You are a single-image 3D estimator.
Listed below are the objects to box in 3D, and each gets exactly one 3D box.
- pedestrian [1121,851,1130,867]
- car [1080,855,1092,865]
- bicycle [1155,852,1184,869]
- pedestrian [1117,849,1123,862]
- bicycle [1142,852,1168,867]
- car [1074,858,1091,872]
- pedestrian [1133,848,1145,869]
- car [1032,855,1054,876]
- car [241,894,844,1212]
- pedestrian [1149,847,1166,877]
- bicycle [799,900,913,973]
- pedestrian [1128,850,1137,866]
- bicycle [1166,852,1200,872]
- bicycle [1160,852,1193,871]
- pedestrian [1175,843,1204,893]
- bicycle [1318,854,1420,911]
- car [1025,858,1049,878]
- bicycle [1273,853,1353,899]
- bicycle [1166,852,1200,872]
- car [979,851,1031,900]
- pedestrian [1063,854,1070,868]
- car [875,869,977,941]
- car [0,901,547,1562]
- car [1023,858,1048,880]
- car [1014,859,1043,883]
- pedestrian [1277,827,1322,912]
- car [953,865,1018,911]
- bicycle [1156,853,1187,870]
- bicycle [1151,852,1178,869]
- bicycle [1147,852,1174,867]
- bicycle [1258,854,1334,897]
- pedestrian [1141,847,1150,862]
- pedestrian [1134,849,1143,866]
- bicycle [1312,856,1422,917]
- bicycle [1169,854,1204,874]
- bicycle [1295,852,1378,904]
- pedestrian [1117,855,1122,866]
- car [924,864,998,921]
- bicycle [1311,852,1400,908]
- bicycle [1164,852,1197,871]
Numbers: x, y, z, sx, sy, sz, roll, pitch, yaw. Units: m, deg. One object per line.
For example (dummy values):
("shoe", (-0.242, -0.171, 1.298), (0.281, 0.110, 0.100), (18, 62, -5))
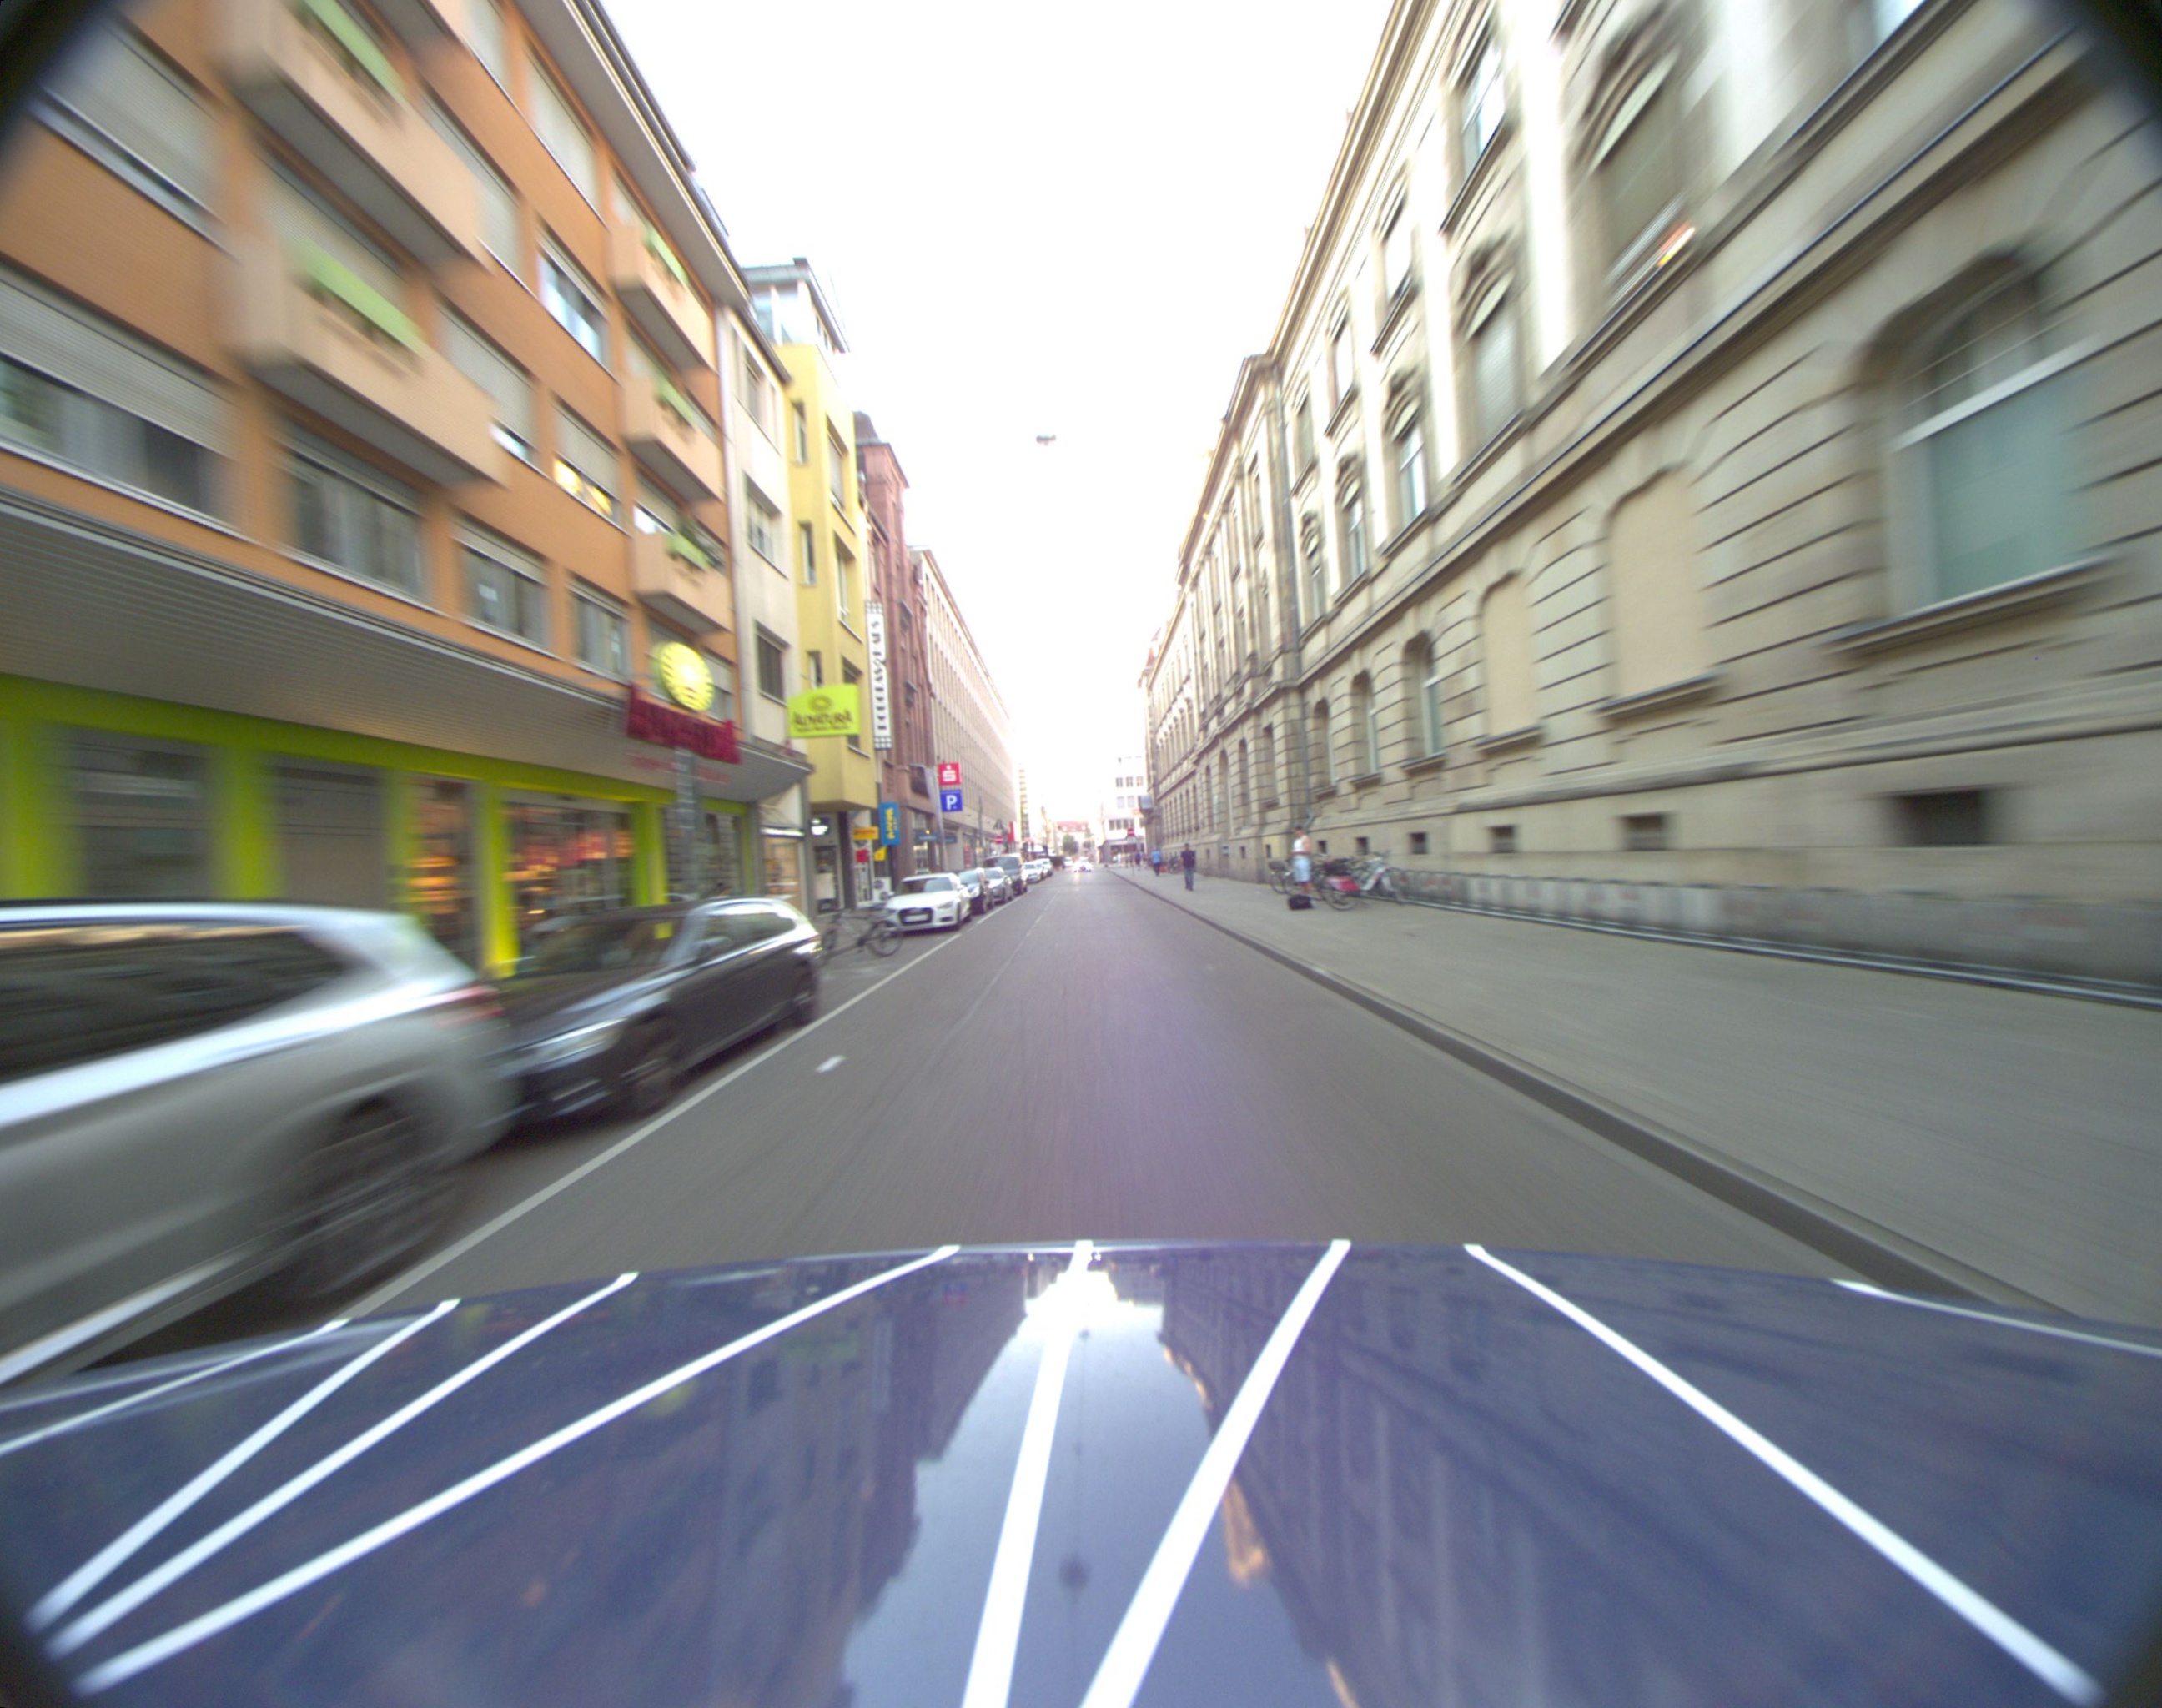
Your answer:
("pedestrian", (4.860, 0.554, 82.804), (0.727, 1.732, 0.839), (-7, 0, 3))
("car", (0.852, 1.025, 130.121), (1.824, 1.728, 4.000), (-3, 0, 0))
("bicycle", (6.451, 0.496, 55.482), (1.943, 1.072, 0.730), (-6, 1, -6))
("pedestrian", (5.810, 0.277, 112.931), (0.783, 1.881, 0.642), (-4, 1, 0))
("bicycle", (6.370, 0.451, 65.298), (2.024, 1.102, 0.730), (-6, 1, -6))
("car", (0.178, 1.199, 82.551), (1.741, 1.407, 4.682), (-1, 0, -1))
("pedestrian", (5.046, 0.366, 66.180), (0.778, 1.778, 0.820), (-5, 0, -2))
("car", (-3.508, 1.046, 70.812), (1.781, 1.656, 4.812), (-5, 0, -2))
("car", (-3.769, 1.246, 6.647), (1.695, 1.406, 4.757), (-6, 0, 1))
("pedestrian", (4.641, 0.465, 46.278), (0.831, 1.735, 0.769), (-6, 0, 1))
("bicycle", (-3.969, 1.423, 13.463), (1.740, 1.049, 0.658), (-5, 0, -41))
("pedestrian", (5.611, 0.453, 82.783), (0.731, 1.658, 0.858), (-7, 0, 3))
("bicycle", (6.501, 0.496, 48.581), (1.943, 1.072, 0.730), (-6, 1, -6))
("bicycle", (6.361, 0.512, 50.669), (1.943, 1.072, 0.730), (-6, 1, -6))
("pedestrian", (4.015, 0.502, 28.144), (0.811, 1.740, 0.969), (-5, 1, 0))
("bicycle", (6.265, 0.608, 16.558), (1.943, 1.055, 0.619), (-5, 1, -5))
("car", (-3.721, 1.181, 65.329), (1.661, 1.439, 3.869), (-5, 1, 1))
("bicycle", (6.336, 0.589, 20.791), (1.943, 1.055, 0.619), (-5, 1, -5))
("bicycle", (6.362, 0.496, 47.316), (1.942, 1.072, 0.748), (-5, 1, 0))
("car", (-3.610, 0.946, 36.872), (1.851, 2.046, 5.053), (-5, 1, 0))
("pedestrian", (-1.736, 0.842, 93.005), (0.687, 1.751, 0.799), (-3, 0, -7))
("car", (-3.822, 1.200, 19.501), (1.696, 1.403, 4.638), (-6, 0, -2))
("car", (-3.844, 1.148, 1.678), (1.756, 1.658, 4.757), (-6, 0, 1))
("car", (-3.566, 1.155, 59.781), (1.661, 1.439, 4.444), (-5, 0, -1))
("car", (-3.650, 1.174, 53.807), (1.661, 1.439, 4.307), (-5, 0, 0))
("pedestrian", (4.930, 0.344, 17.198), (0.589, 1.840, 0.754), (-5, 0, -5))
("car", (-3.642, 1.273, 29.786), (1.691, 1.444, 4.498), (-6, 0, 2))
("bicycle", (6.463, 0.528, 54.293), (1.943, 1.072, 0.730), (-6, 1, -6))
("bicycle", (6.489, 0.494, 58.993), (1.943, 1.072, 0.730), (-6, 1, -6))
("bicycle", (6.544, 0.464, 62.423), (2.026, 1.072, 0.729), (-6, 1, -19))
("bicycle", (6.227, 0.604, 22.040), (1.942, 1.055, 0.619), (-5, 1, -1))
("pedestrian", (7.170, 0.063, 84.422), (0.757, 1.632, 0.749), (-7, 0, 8))
("pedestrian", (6.407, 0.388, 84.515), (0.718, 1.819, 0.870), (-7, 0, 8))
("bicycle", (5.827, 0.654, 15.520), (1.942, 1.055, 0.619), (-5, 1, -2))
("bicycle", (6.441, 0.605, 46.397), (1.940, 1.040, 0.721), (-4, 0, -4))
("bicycle", (6.230, 0.571, 18.572), (1.799, 1.101, 0.500), (-5, 1, -5))
("pedestrian", (6.065, 0.973, 119.571), (0.545, 1.698, 0.558), (-4, 0, 0))
("car", (-3.791, 1.178, 24.672), (1.622, 1.507, 4.173), (-6, 0, -1))
("bicycle", (6.275, 0.574, 17.372), (1.799, 1.101, 0.500), (-5, 1, -5))
("bicycle", (6.437, 0.499, 49.353), (1.943, 1.072, 0.730), (-6, 1, -6))
